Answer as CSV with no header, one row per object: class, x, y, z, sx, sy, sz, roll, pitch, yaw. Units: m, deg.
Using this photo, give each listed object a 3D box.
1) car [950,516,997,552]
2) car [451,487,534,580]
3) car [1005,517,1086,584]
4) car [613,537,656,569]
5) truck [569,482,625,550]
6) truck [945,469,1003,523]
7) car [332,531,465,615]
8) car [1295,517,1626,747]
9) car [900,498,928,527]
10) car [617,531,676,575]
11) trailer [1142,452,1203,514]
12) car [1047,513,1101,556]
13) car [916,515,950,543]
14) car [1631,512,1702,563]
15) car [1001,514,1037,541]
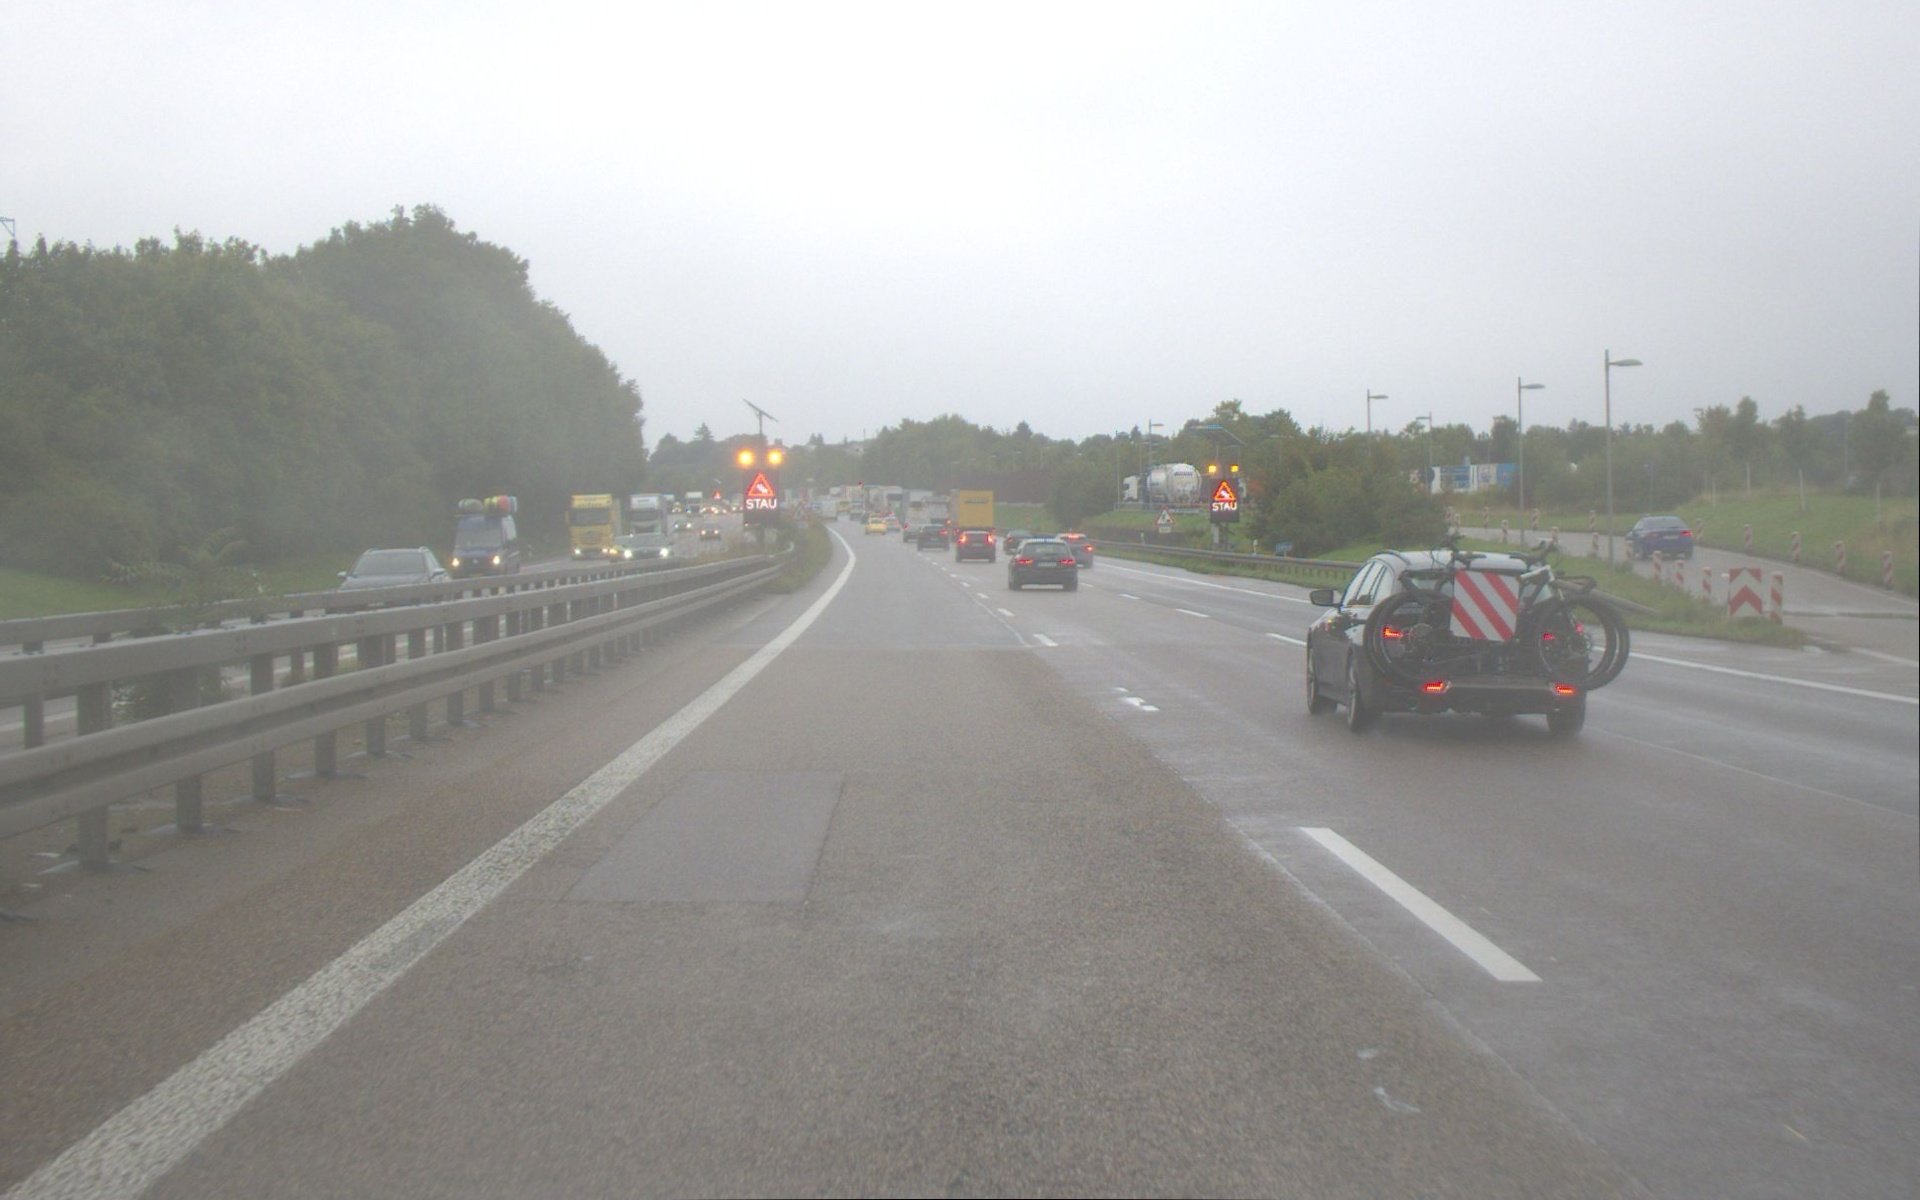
car,0.626,-3.116,162.346,1.993,1.623,4.001,-1,2,-2
car,-17.403,-2.476,128.332,2.254,3.316,6.176,-2,1,-1
car,2.349,-1.389,95.292,1.993,1.755,4.001,-1,2,-2
car,-17.363,-2.511,183.484,1.874,1.597,4.514,-2,1,-1
truck,-22.318,-5.169,211.577,2.762,4.041,6.158,-2,1,-2
truck,1.009,-7.853,260.332,3.924,3.967,12.241,-1,2,-2
car,-10.809,-0.545,66.473,1.822,1.507,4.791,-2,1,-1
car,3.938,0.209,27.978,2.058,1.665,5.521,1,1,2
car,-3.505,-6.635,260.585,1.993,2.197,4.001,-1,2,-2
car,-12.513,-1.889,137.462,1.923,1.650,4.791,-2,1,-1
trailer,14.840,-8.157,241.048,2.985,4.142,12.958,-1,2,-2
car,4.854,-2.807,146.331,1.993,1.755,4.001,1,1,-2
car,-1.660,-4.380,211.503,1.993,1.623,4.001,-1,2,-2
car,24.430,-2.177,118.912,1.922,1.703,4.000,-1,1,5
car,3.658,-4.507,213.064,1.993,1.623,4.001,-1,2,-2
